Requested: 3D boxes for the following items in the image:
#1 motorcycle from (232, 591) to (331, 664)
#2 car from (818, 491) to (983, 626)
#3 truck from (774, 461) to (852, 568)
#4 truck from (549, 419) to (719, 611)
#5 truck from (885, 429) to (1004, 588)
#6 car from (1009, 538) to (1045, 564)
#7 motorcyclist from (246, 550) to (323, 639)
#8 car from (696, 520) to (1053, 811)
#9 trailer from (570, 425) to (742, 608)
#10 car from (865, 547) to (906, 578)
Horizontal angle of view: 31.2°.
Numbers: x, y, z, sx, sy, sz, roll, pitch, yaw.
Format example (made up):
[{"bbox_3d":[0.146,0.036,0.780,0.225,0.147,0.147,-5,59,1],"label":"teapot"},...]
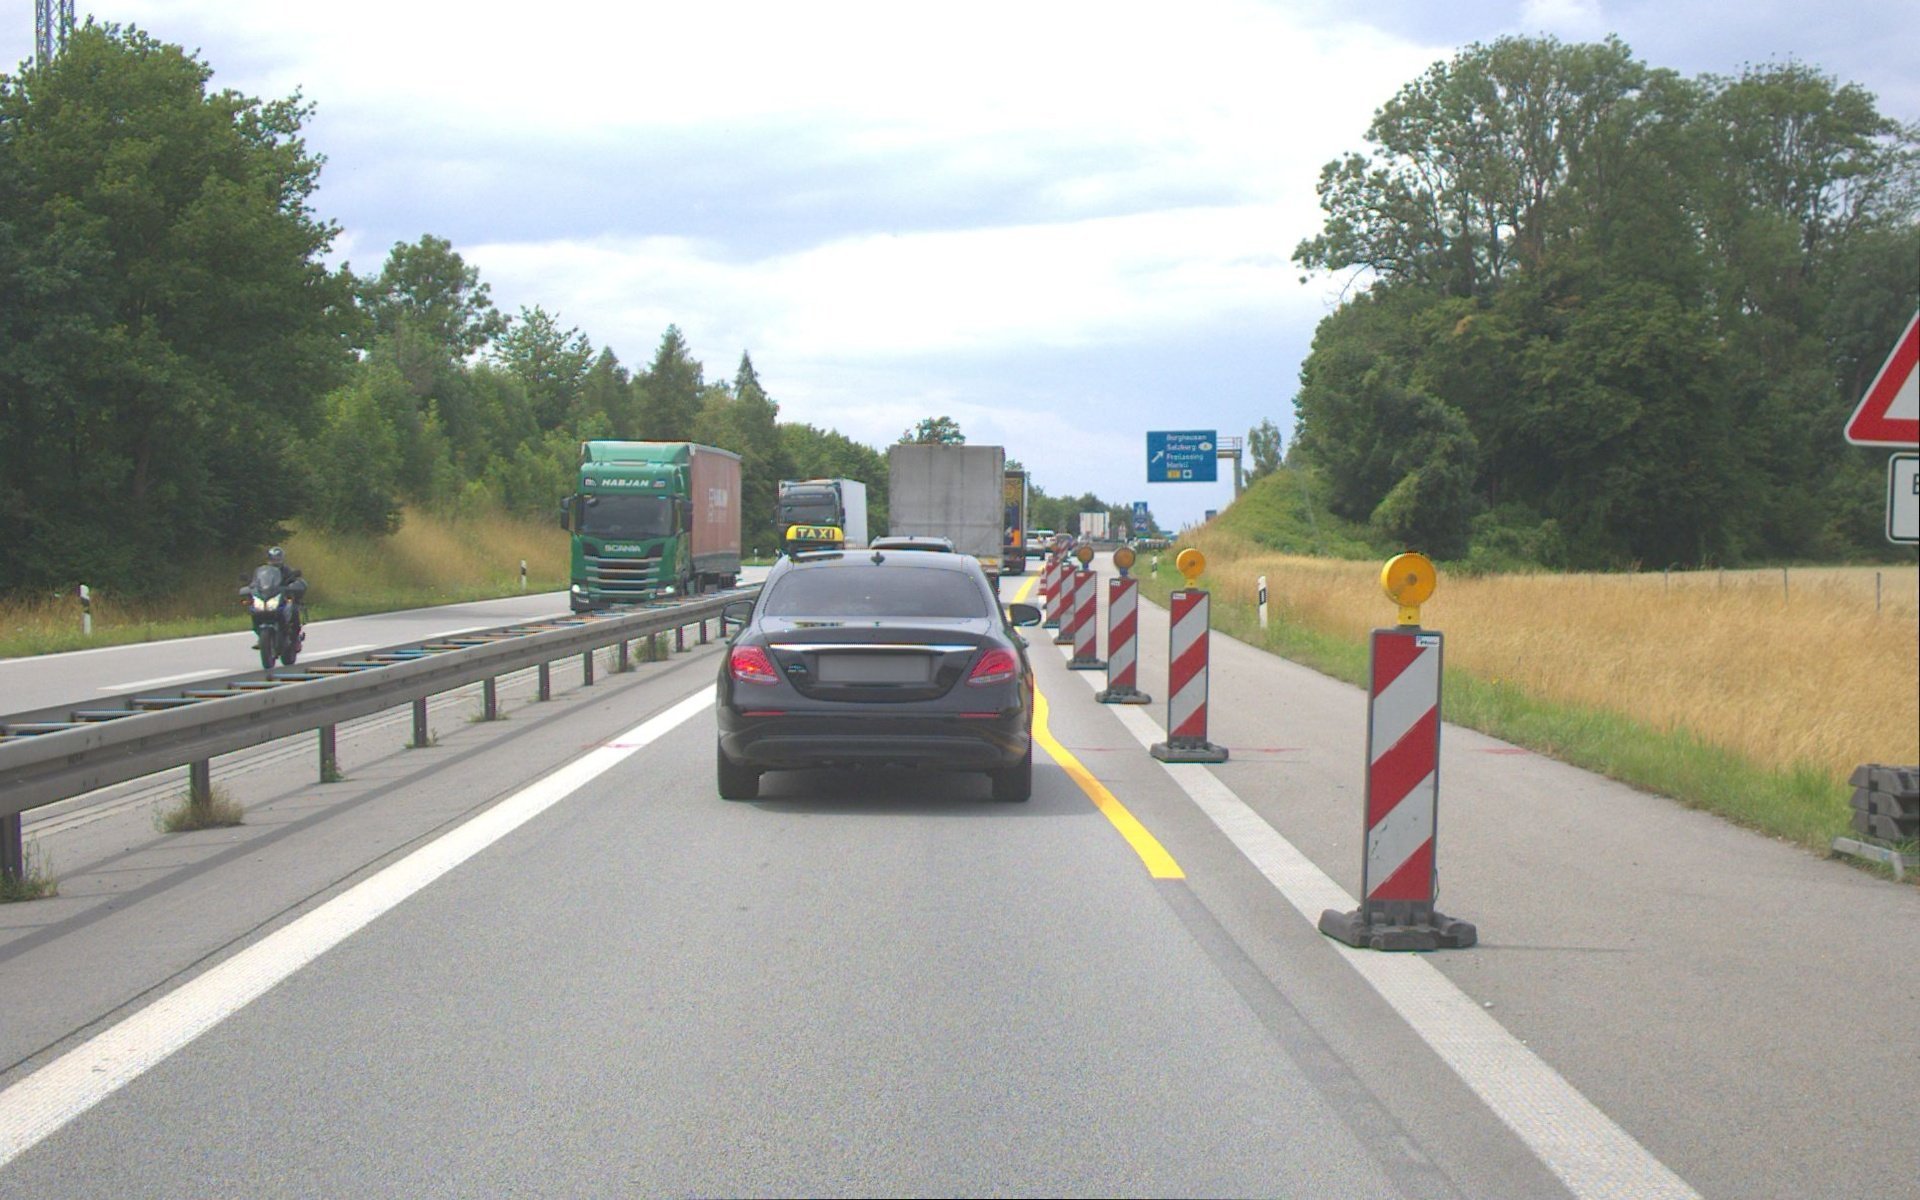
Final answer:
[{"bbox_3d":[-9.369,0.368,47.583,0.855,0.931,2.724,1,1,-1],"label":"motorcycle"},{"bbox_3d":[-0.977,-0.639,53.892,1.993,2.007,4.001,1,0,-9],"label":"car"},{"bbox_3d":[-5.928,-3.419,139.458,2.640,4.156,6.985,1,0,1],"label":"truck"},{"bbox_3d":[-7.495,-1.905,79.860,3.123,4.198,6.781,1,0,1],"label":"truck"},{"bbox_3d":[-0.393,-2.077,79.612,2.586,3.512,4.813,1,0,-1],"label":"truck"},{"bbox_3d":[3.745,-2.719,191.972,1.649,1.391,3.706,1,0,-4],"label":"car"},{"bbox_3d":[-9.351,-0.075,47.595,0.861,1.205,0.961,1,0,-1],"label":"motorcyclist"},{"bbox_3d":[-0.420,0.347,20.853,1.796,1.554,3.999,1,0,4],"label":"car"},{"bbox_3d":[-7.452,-1.988,85.907,3.150,4.198,11.643,1,0,0],"label":"trailer"},{"bbox_3d":[-3.954,-2.010,183.797,1.993,1.612,4.000,1,0,1],"label":"car"}]
